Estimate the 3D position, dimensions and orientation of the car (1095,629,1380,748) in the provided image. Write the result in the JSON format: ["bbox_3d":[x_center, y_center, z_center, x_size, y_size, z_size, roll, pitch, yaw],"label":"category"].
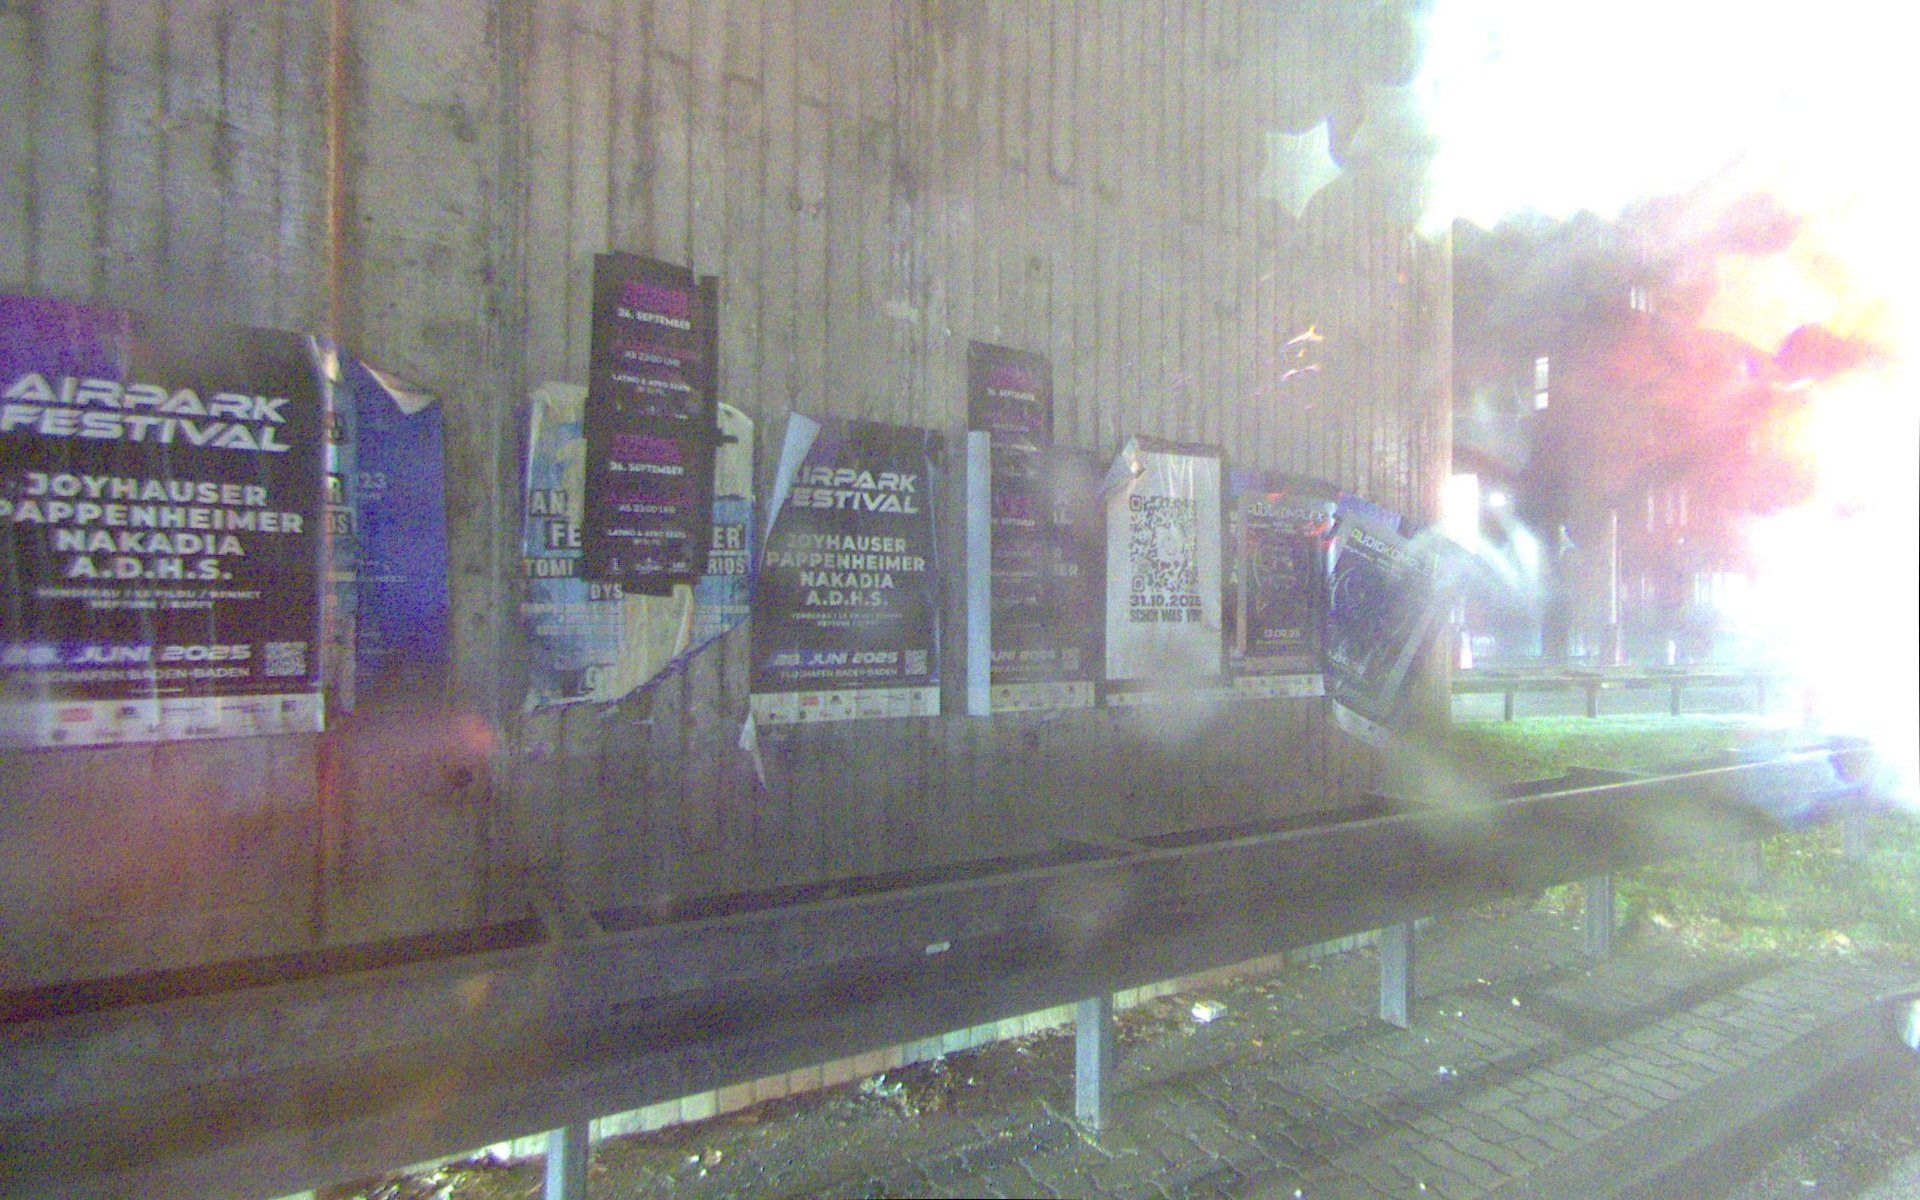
[{"bbox_3d":[4.361,1.316,15.840,4.024,1.609,1.902,0,-2,-24],"label":"car"}]
